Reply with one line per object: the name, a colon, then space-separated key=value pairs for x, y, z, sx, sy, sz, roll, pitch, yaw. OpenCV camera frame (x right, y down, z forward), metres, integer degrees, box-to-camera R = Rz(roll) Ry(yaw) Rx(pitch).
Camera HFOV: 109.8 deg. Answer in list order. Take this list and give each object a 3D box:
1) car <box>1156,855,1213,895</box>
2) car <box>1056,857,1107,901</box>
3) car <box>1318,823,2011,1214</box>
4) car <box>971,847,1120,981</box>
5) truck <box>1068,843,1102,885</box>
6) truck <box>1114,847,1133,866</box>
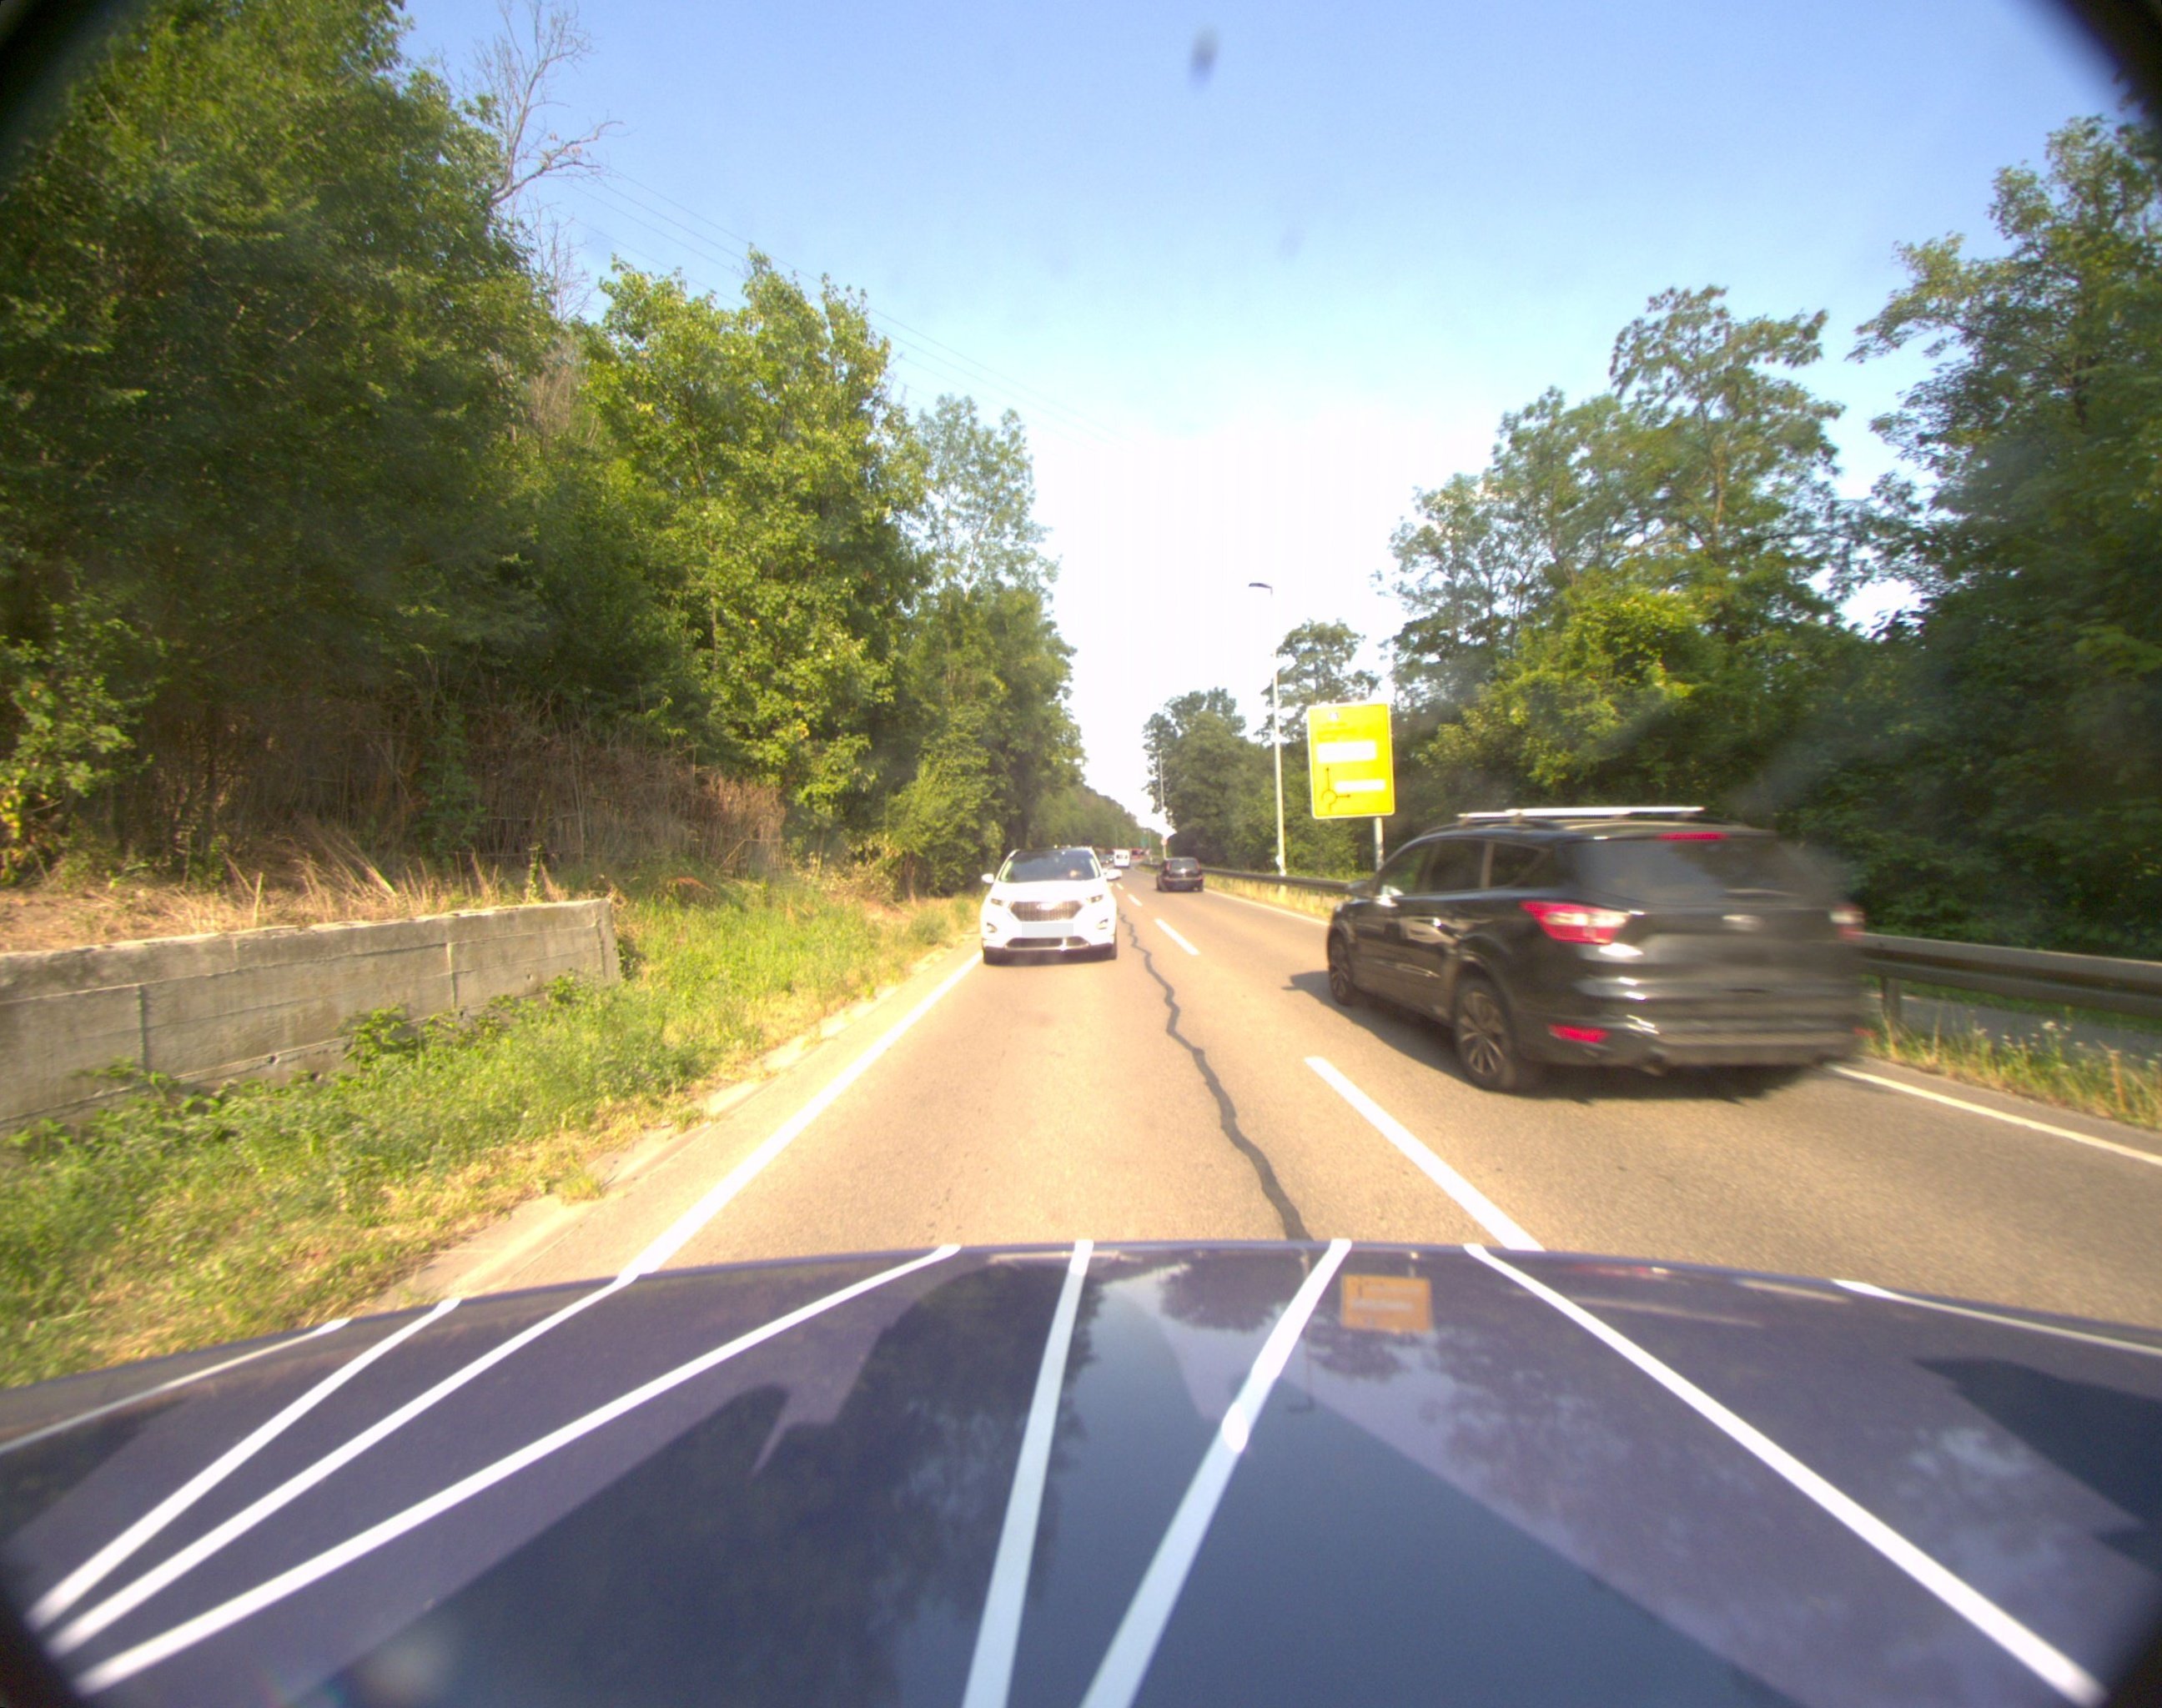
car: x=4.040 y=0.782 z=30.081 sx=1.686 sy=1.433 sz=4.000 roll=-1 pitch=0 yaw=0
car: x=0.054 y=0.877 z=28.491 sx=1.704 sy=1.477 sz=4.136 roll=-2 pitch=0 yaw=1
car: x=3.267 y=0.729 z=5.494 sx=1.752 sy=1.707 sz=4.221 roll=-1 pitch=0 yaw=0
car: x=-0.441 y=0.796 z=12.125 sx=1.894 sy=1.691 sz=4.136 roll=-3 pitch=0 yaw=1
truck: x=0.262 y=0.553 z=46.326 sx=1.894 sy=2.334 sz=5.273 roll=-2 pitch=0 yaw=1
truck: x=5.504 y=0.278 z=97.366 sx=2.062 sy=2.371 sz=5.875 roll=-2 pitch=1 yaw=5
